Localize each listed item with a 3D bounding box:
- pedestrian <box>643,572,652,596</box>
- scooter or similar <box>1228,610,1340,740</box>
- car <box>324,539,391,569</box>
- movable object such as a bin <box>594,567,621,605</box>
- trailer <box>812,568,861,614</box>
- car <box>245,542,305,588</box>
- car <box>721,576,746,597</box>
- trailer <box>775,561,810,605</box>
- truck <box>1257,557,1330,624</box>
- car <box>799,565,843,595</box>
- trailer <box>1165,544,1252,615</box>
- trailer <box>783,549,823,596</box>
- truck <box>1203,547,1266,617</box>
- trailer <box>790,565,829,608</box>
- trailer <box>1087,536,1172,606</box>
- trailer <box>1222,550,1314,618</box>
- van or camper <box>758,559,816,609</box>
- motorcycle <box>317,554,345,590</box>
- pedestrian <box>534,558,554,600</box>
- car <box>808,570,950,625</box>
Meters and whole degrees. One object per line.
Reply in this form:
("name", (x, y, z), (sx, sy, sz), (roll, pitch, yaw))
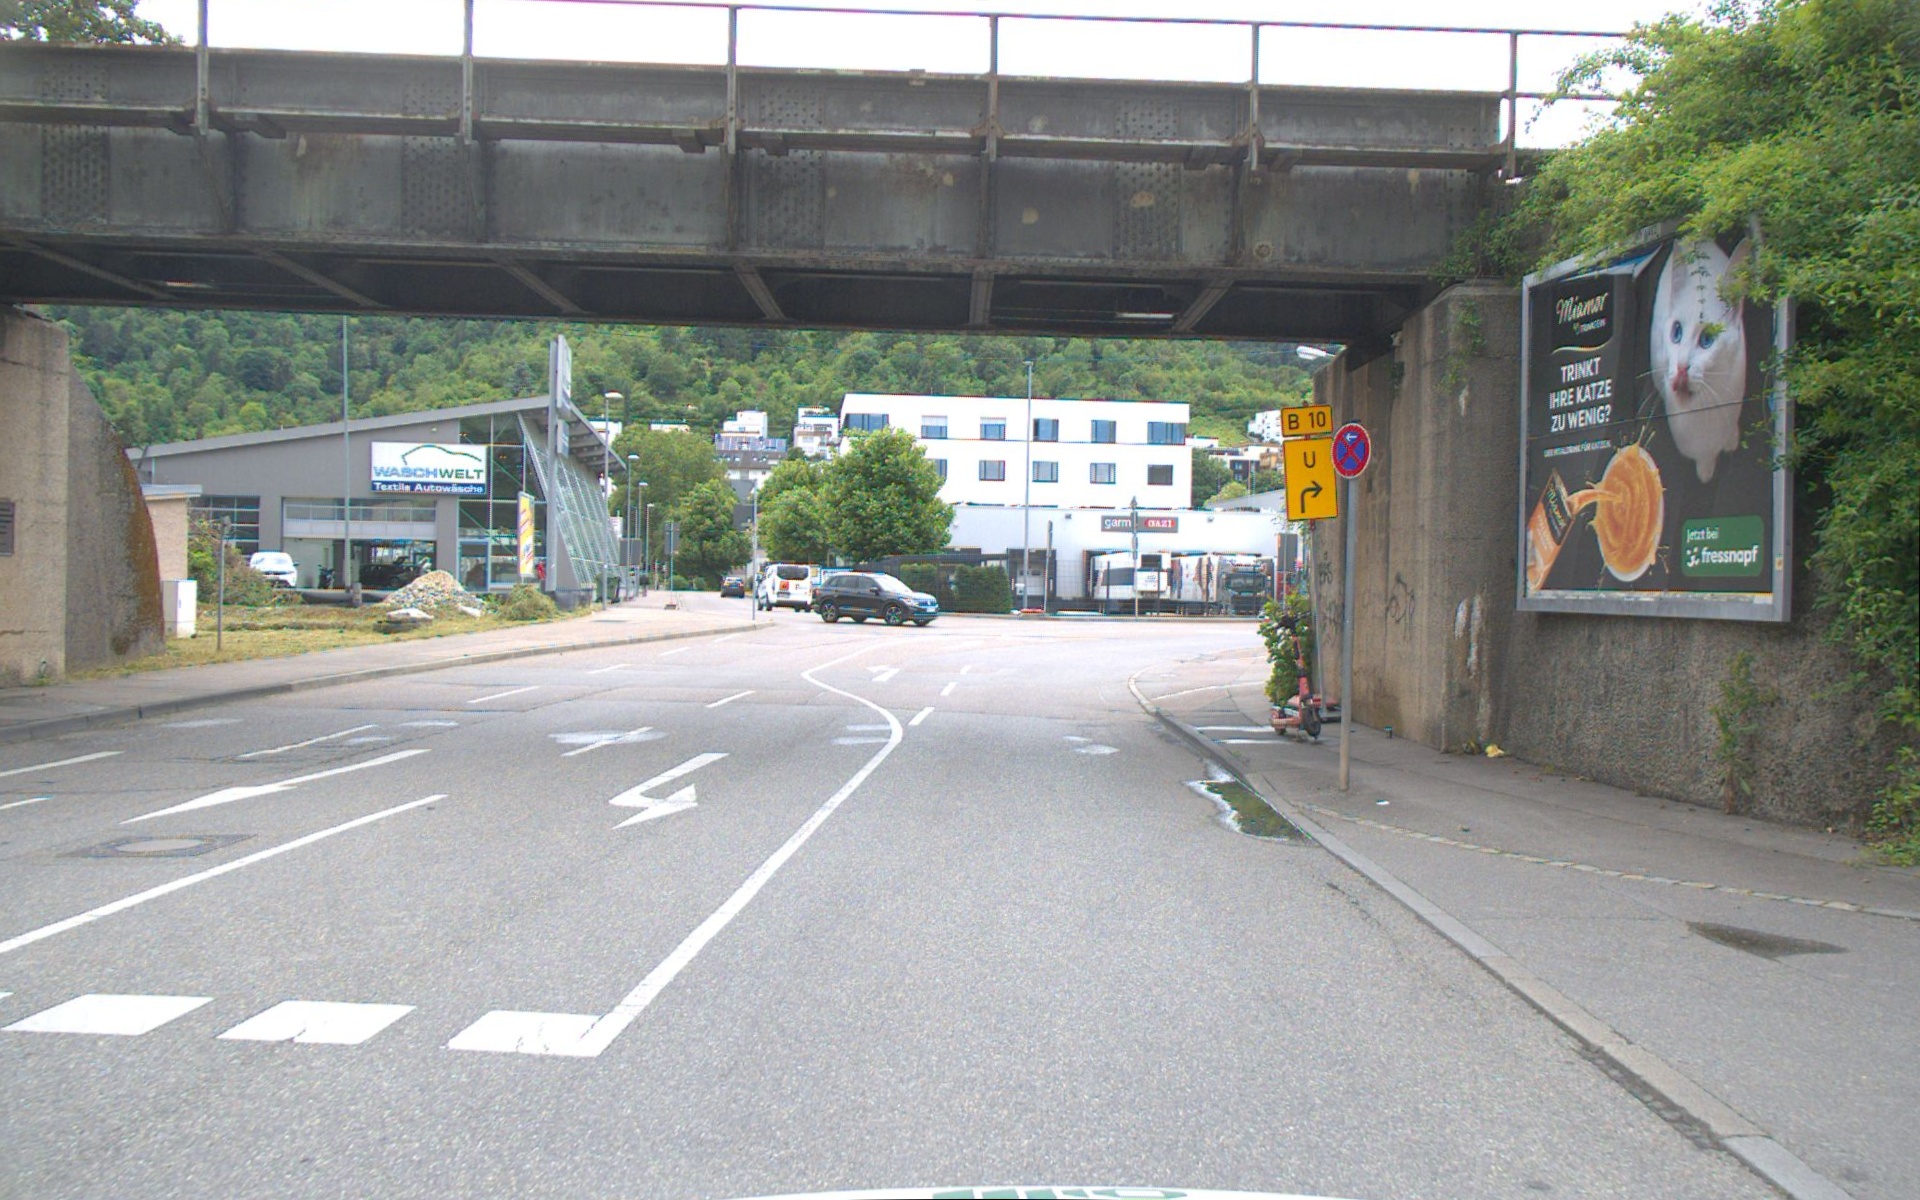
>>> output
("pedestrian", (-23.191, -1.189, 122.635), (0.616, 1.702, 0.756), (1, 0, -13))
("scooter or similar", (3.388, 0.753, 17.435), (0.495, 1.257, 1.665), (-3, 1, -12))
("car", (-38.136, -2.874, 104.804), (3.927, 1.758, 1.989), (1, 0, -20))
("movable object such as a bin", (-16.788, -0.653, 78.858), (1.121, 1.787, 1.057), (1, 0, -7))
("trailer", (-5.854, -0.433, 78.237), (1.957, 2.048, 3.992), (2, 1, -9))
("car", (-25.216, -1.280, 60.901), (1.966, 1.562, 3.972), (1, 1, -23))
("car", (-18.692, -1.112, 136.703), (1.955, 1.713, 3.994), (1, 0, -7))
("trailer", (-11.914, -1.226, 117.608), (2.237, 3.004, 3.992), (2, 1, -9))
("truck", (20.672, -0.596, 102.831), (2.739, 3.997, 5.917), (1, 0, -6))
("car", (-7.578, -1.107, 89.713), (1.958, 1.534, 4.172), (2, 1, -11))
("trailer", (16.103, -1.305, 108.239), (2.730, 4.376, 11.166), (1, 0, -7))
("trailer", (-13.296, -2.301, 139.973), (3.011, 3.825, 4.924), (2, 1, -9))
("truck", (16.844, -1.095, 101.598), (2.739, 4.110, 4.159), (1, 0, -6))
("trailer", (-8.717, -0.782, 95.803), (1.957, 2.384, 3.992), (2, 1, -9))
("trailer", (10.826, -1.816, 106.921), (3.022, 4.149, 11.394), (1, 0, -7))
("trailer", (20.061, -1.049, 108.349), (2.730, 4.149, 10.981), (1, 0, -7))
("van or camper", (-7.696, -0.708, 73.270), (2.062, 2.119, 4.191), (1, 0, -13))
("motorcycle", (-31.114, -1.367, 81.830), (0.825, 1.739, 2.357), (1, 0, -11))
("pedestrian", (-18.975, -0.969, 75.519), (0.814, 1.900, 0.714), (0, 1, -21))
("car", (-2.665, -0.100, 54.301), (4.276, 1.713, 1.996), (1, 0, 31))
